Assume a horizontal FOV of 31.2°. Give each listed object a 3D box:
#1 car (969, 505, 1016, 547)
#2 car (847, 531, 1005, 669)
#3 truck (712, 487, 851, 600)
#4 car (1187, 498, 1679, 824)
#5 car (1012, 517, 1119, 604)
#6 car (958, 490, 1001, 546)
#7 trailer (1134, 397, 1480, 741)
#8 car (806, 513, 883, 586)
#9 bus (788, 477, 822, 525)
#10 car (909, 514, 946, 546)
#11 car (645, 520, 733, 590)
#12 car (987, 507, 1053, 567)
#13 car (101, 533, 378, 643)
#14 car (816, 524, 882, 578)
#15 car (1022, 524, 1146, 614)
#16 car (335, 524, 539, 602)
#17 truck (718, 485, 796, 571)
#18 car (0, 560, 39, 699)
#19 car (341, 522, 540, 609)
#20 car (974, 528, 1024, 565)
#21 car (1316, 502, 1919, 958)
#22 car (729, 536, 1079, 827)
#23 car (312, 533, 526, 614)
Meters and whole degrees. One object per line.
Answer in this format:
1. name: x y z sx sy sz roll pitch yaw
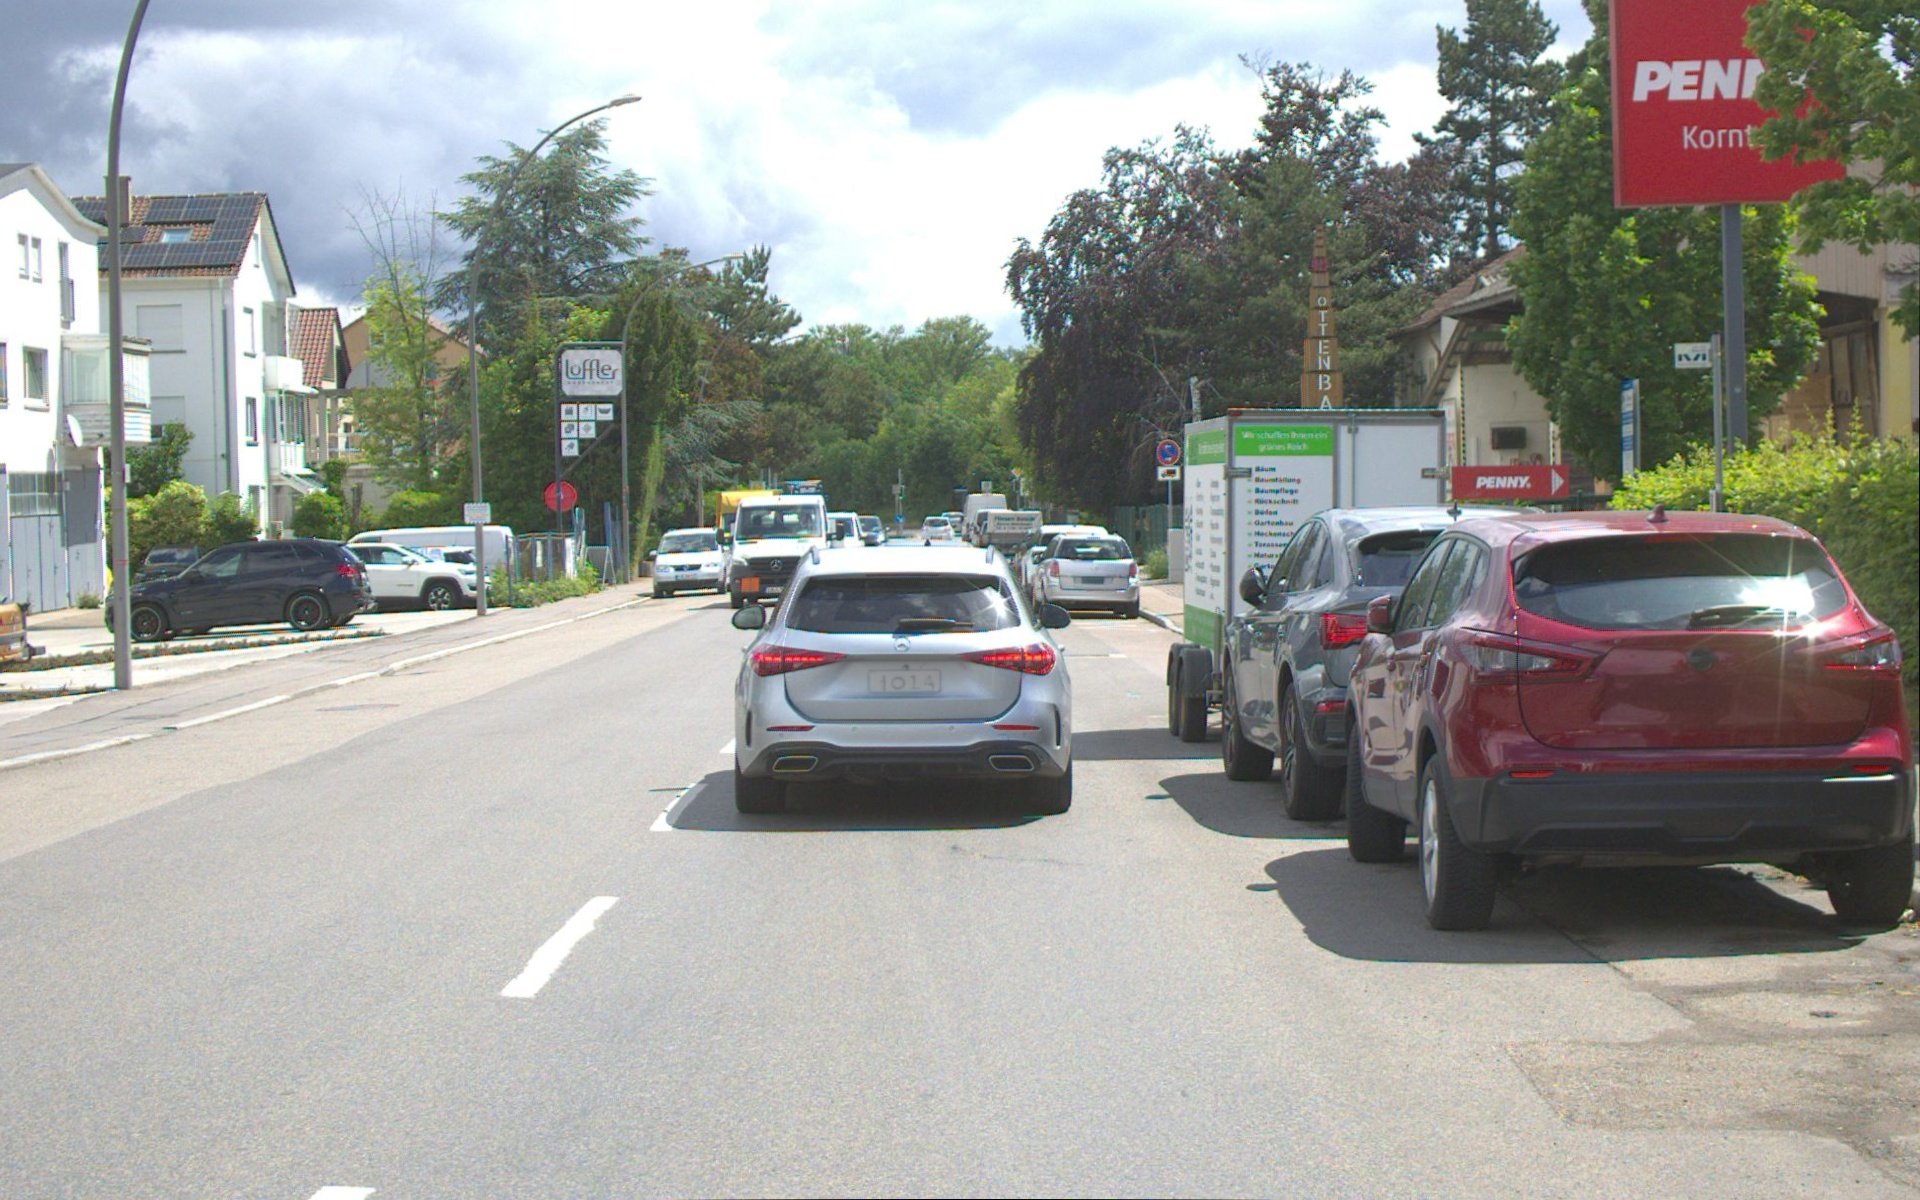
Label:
1. car: 1.360 -3.118 145.443 1.784 1.709 4.317 0 1 -2
2. car: -0.461 -0.041 42.193 1.755 1.552 4.001 -1 2 -3
3. truck: -3.647 -1.214 71.523 2.319 2.171 6.449 -2 2 2
4. car: 2.513 0.243 19.376 1.941 1.566 4.446 -2 2 -2
5. car: 2.031 -0.796 67.064 1.791 1.546 4.574 -2 2 -1
6. car: 0.882 -3.735 157.718 1.784 2.510 4.317 0 1 -2
7. trailer: 2.478 -0.258 25.638 1.941 2.286 4.446 -2 1 -2
8. car: -3.156 -1.417 94.689 1.993 1.882 5.117 -2 2 -1
9. bus: -11.054 -7.049 244.887 1.993 3.352 6.984 1 2 -6
10. car: -1.619 -3.508 171.307 1.755 1.552 4.001 -1 2 -1
11. car: -6.652 -1.134 84.739 1.792 1.598 4.364 -2 2 -1
12. car: 2.073 -2.214 120.165 2.144 1.977 5.261 -2 1 0
13. car: -13.228 -0.237 63.383 4.626 1.627 2.198 -4 2 -3
14. car: -3.803 -1.701 118.657 1.993 1.727 4.548 -2 2 1
15. car: 2.171 -0.579 61.337 1.791 1.445 4.364 -2 2 -3
16. car: -11.723 -0.828 77.293 4.279 1.561 1.991 -2 -2 -1
17. truck: -6.952 -2.515 118.452 2.075 2.804 7.078 -2 2 1
18. car: -12.634 0.287 38.583 4.149 1.486 1.826 1 2 -4
19. car: -12.003 -0.794 79.621 4.279 1.830 1.991 -2 -2 -1
20. car: 1.573 -2.169 140.241 1.784 1.479 4.317 0 1 -2
21. car: 2.659 0.401 14.446 1.941 1.566 4.446 -2 2 2
22. car: -0.370 0.381 19.696 1.784 1.479 4.317 0 1 -2
23. car: -11.681 -0.554 74.362 4.279 1.561 1.991 -2 -2 0
